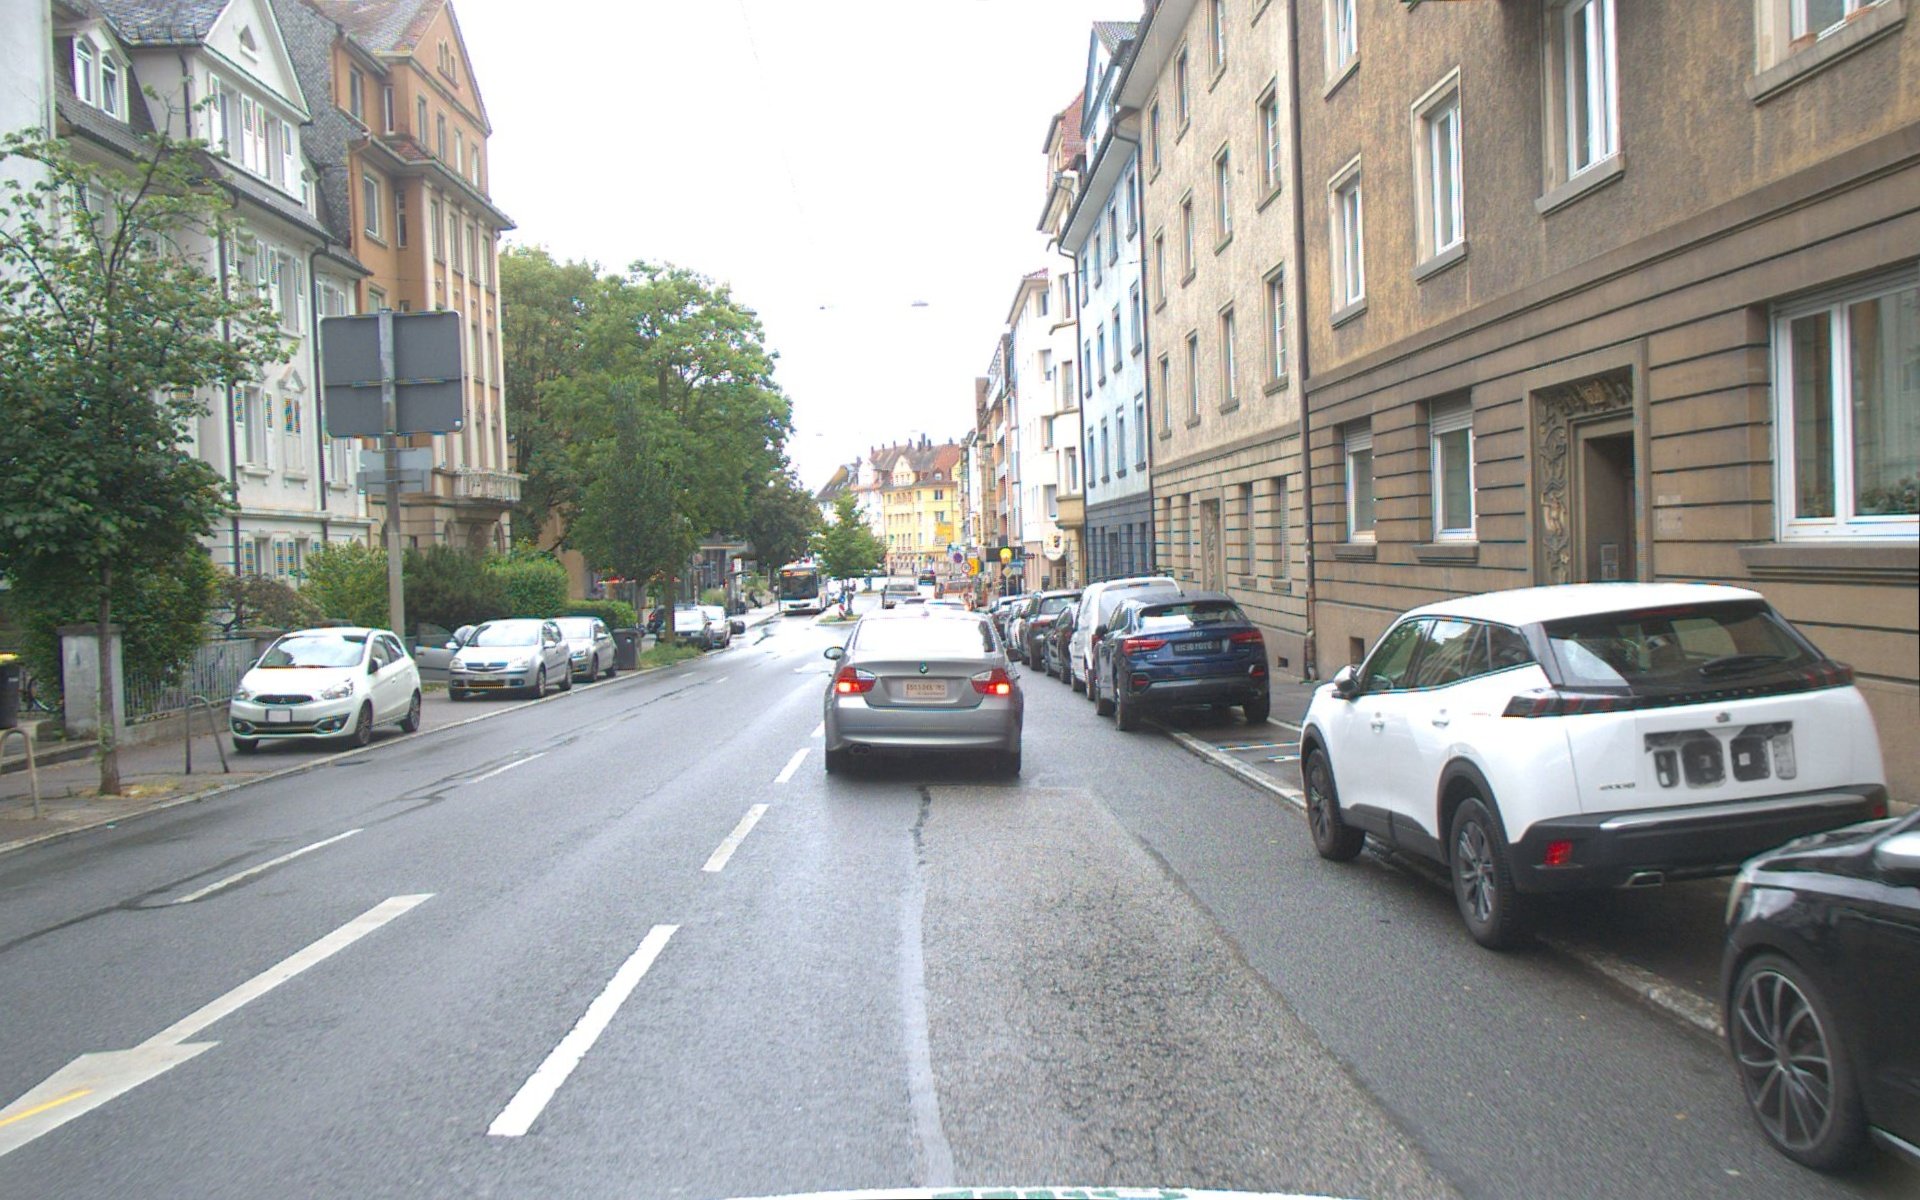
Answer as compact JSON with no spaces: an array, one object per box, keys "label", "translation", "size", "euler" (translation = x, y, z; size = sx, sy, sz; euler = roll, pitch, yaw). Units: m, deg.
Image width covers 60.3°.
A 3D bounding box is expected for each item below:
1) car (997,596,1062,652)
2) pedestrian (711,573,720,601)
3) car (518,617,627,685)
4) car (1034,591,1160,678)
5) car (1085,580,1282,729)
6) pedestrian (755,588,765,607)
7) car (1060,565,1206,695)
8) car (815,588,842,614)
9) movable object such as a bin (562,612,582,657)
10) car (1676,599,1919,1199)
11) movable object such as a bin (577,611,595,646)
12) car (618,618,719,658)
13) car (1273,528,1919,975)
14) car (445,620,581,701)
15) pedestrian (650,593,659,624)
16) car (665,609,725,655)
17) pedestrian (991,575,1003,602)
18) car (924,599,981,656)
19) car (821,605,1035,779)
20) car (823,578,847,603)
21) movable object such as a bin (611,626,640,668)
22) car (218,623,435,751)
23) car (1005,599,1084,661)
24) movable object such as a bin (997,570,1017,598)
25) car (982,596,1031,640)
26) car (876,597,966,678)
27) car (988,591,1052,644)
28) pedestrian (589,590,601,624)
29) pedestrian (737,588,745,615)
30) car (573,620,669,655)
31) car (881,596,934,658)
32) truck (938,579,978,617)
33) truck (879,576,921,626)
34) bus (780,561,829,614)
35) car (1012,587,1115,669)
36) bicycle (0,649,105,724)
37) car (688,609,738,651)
[{"label":"car","translation":[2.005,0.682,48.616],"size":[1.551,1.454,3.594],"euler":[-5,0,-2]},{"label":"pedestrian","translation":[-16.046,-0.854,108.608],"size":[0.533,1.821,0.507],"euler":[1,-1,-11]},{"label":"car","translation":[-8.940,1.145,38.455],"size":[1.648,1.414,3.935],"euler":[-1,0,-1]},{"label":"car","translation":[2.590,0.626,32.208],"size":[1.804,1.433,4.385],"euler":[-4,0,-3]},{"label":"car","translation":[2.682,0.605,20.747],"size":[1.754,1.575,4.225],"euler":[-3,0,-1]},{"label":"pedestrian","translation":[-14.657,-0.195,121.108],"size":[0.607,1.402,0.544],"euler":[1,-1,-1]},{"label":"car","translation":[2.733,0.443,26.984],"size":[1.755,1.849,4.078],"euler":[-3,0,-2]},{"label":"car","translation":[-10.466,0.111,131.712],"size":[1.954,2.049,3.997],"euler":[0,-1,-3]},{"label":"movable object such as a bin","translation":[-11.667,1.039,49.787],"size":[0.430,1.331,0.649],"euler":[-2,0,-2]},{"label":"car","translation":[3.159,0.761,3.390],"size":[1.599,1.504,3.732],"euler":[1,0,-3]},{"label":"movable object such as a bin","translation":[-11.630,0.895,51.440],"size":[0.417,1.059,0.650],"euler":[-2,0,-2]},{"label":"car","translation":[-11.836,1.539,67.374],"size":[3.737,1.414,1.743],"euler":[-2,1,1]},{"label":"car","translation":[3.025,0.614,8.796],"size":[1.600,1.666,4.192],"euler":[-5,0,-3]},{"label":"car","translation":[-8.707,1.140,32.523],"size":[1.648,1.414,3.908],"euler":[-1,0,-1]},{"label":"pedestrian","translation":[-18.275,0.516,99.051],"size":[0.456,1.821,0.543],"euler":[1,-1,-8]},{"label":"car","translation":[-9.197,1.095,57.694],"size":[1.621,1.479,3.940],"euler":[-2,0,-3]},{"label":"pedestrian","translation":[2.288,-0.714,103.145],"size":[0.734,1.690,0.755],"euler":[1,-1,1]},{"label":"car","translation":[-0.182,0.707,43.017],"size":[1.406,1.380,3.761],"euler":[1,-1,0]},{"label":"car","translation":[-0.302,0.765,14.949],"size":[1.720,1.386,3.163],"euler":[0,-1,-2]},{"label":"car","translation":[-11.131,-0.826,147.523],"size":[1.954,2.049,3.998],"euler":[1,-1,-3]},{"label":"movable object such as a bin","translation":[-8.806,1.236,43.524],"size":[0.617,1.076,0.600],"euler":[-2,-1,-2]},{"label":"car","translation":[-8.433,1.105,22.345],"size":[1.613,1.534,3.794],"euler":[-1,-1,-3]},{"label":"car","translation":[2.210,0.767,44.274],"size":[1.695,1.454,3.972],"euler":[-5,0,-2]},{"label":"movable object such as a bin","translation":[3.009,-1.009,105.530],"size":[1.100,1.732,1.432],"euler":[-3,-1,-4]},{"label":"car","translation":[1.702,0.640,61.526],"size":[1.538,1.489,4.088],"euler":[-4,0,-1]},{"label":"car","translation":[-0.788,0.710,31.692],"size":[1.570,1.445,3.285],"euler":[1,-1,-4]},{"label":"car","translation":[1.950,0.554,54.857],"size":[1.781,1.585,4.292],"euler":[-4,0,-1]},{"label":"pedestrian","translation":[-20.504,0.379,92.962],"size":[0.622,1.847,0.636],"euler":[-2,1,-12]},{"label":"pedestrian","translation":[-13.965,0.098,105.471],"size":[0.532,1.739,0.465],"euler":[1,-1,-8]},{"label":"car","translation":[-14.326,1.568,70.089],"size":[3.739,1.414,1.742],"euler":[-1,-1,-3]},{"label":"car","translation":[-1.852,0.949,57.393],"size":[1.671,2.049,3.996],"euler":[1,-1,-4]},{"label":"truck","translation":[-0.136,-0.086,98.377],"size":[2.171,2.154,4.650],"euler":[2,0,-2]},{"label":"truck","translation":[-3.261,0.086,89.851],"size":[2.172,2.589,4.777],"euler":[1,-1,-3]},{"label":"bus","translation":[-10.383,-0.731,111.277],"size":[2.627,3.257,11.949],"euler":[1,-1,-3]},{"label":"car","translation":[2.289,0.608,37.526],"size":[1.804,1.649,4.206],"euler":[-3,0,-3]},{"label":"bicycle","translation":[-14.286,1.350,26.013],"size":[1.392,1.108,0.484],"euler":[-2,0,-2]},{"label":"car","translation":[-9.257,1.113,62.294],"size":[1.600,1.479,3.835],"euler":[-1,0,-5]}]
